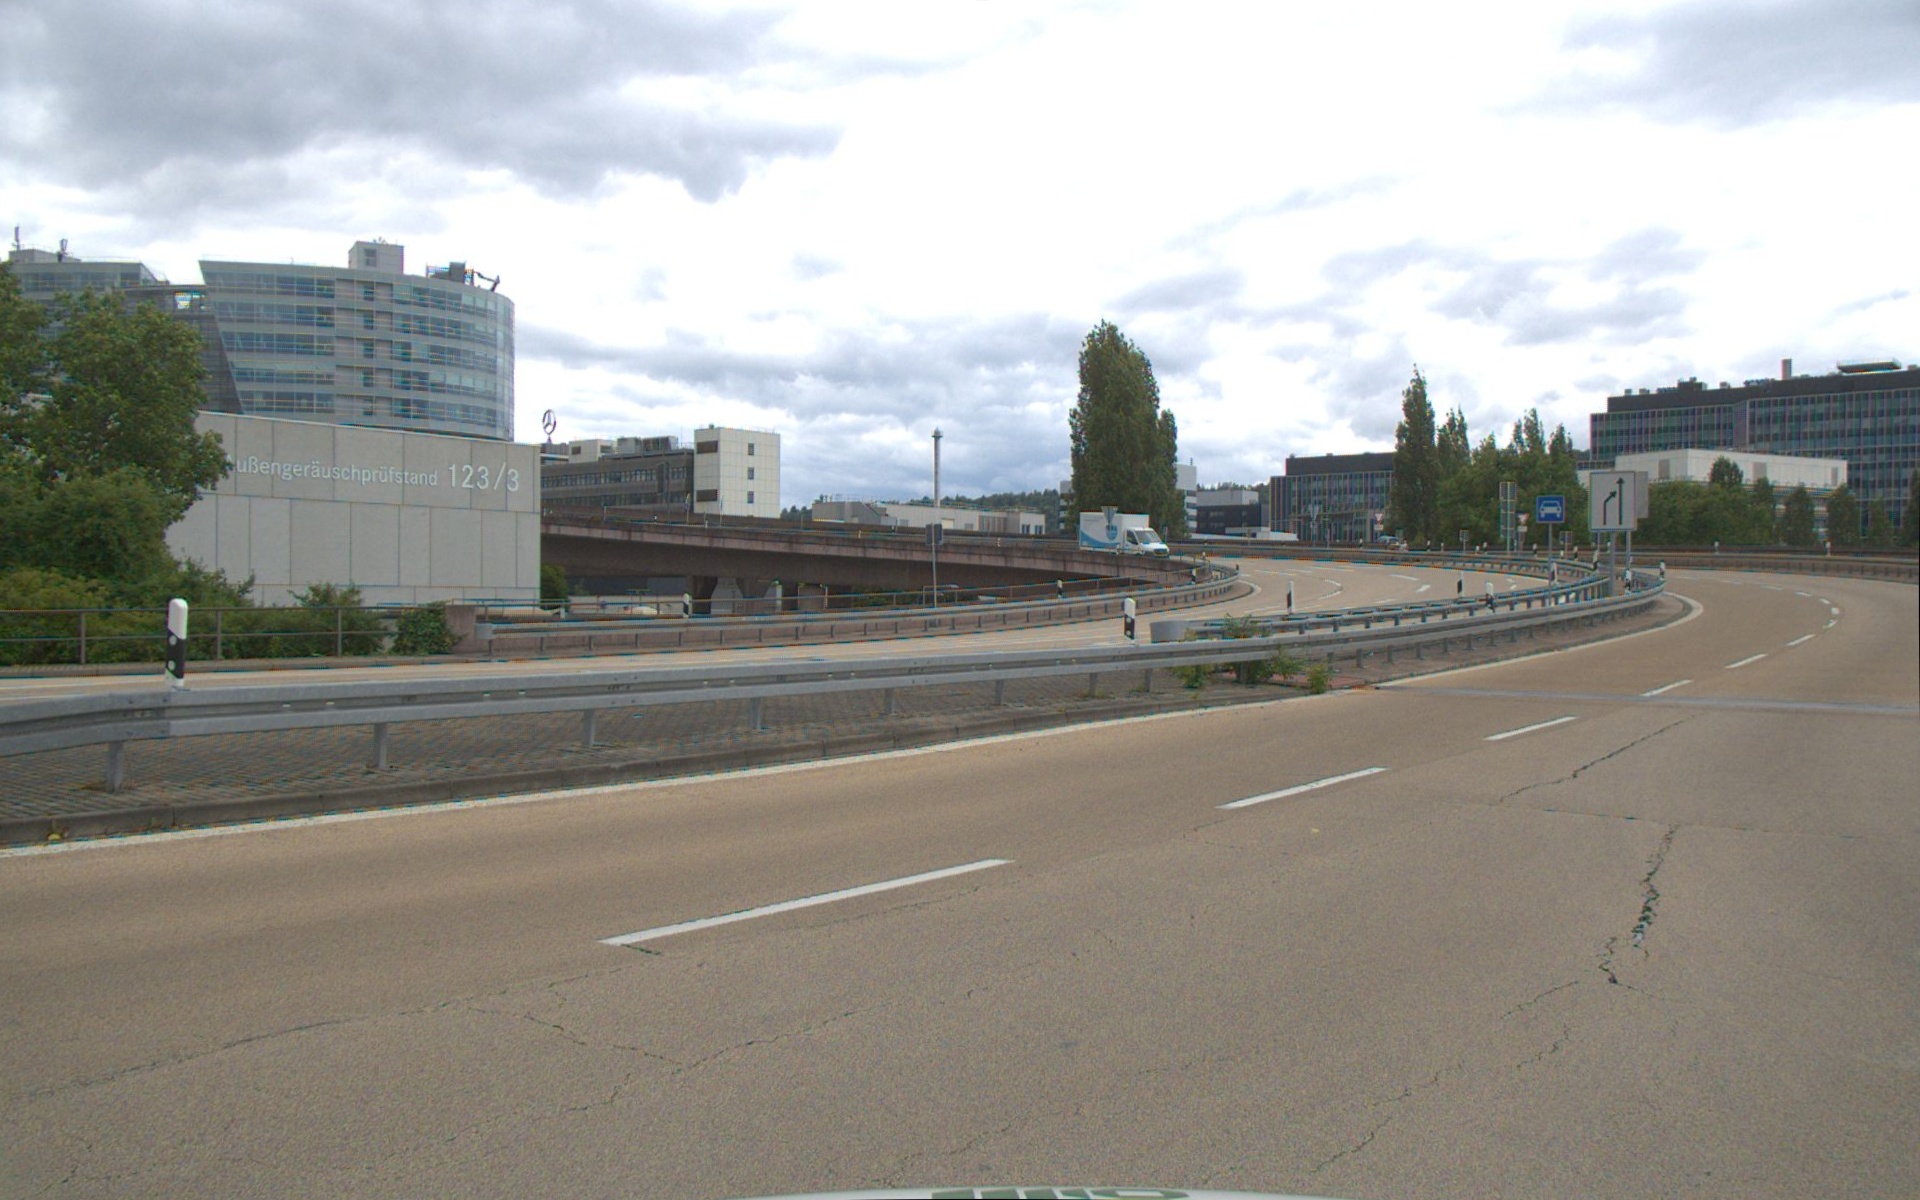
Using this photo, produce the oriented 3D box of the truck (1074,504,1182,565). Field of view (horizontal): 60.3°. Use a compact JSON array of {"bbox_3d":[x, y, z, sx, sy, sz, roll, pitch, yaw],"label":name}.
[{"bbox_3d":[10.172,-4.025,100.991,2.328,3.319,6.904,1,3,-38],"label":"truck"}]
